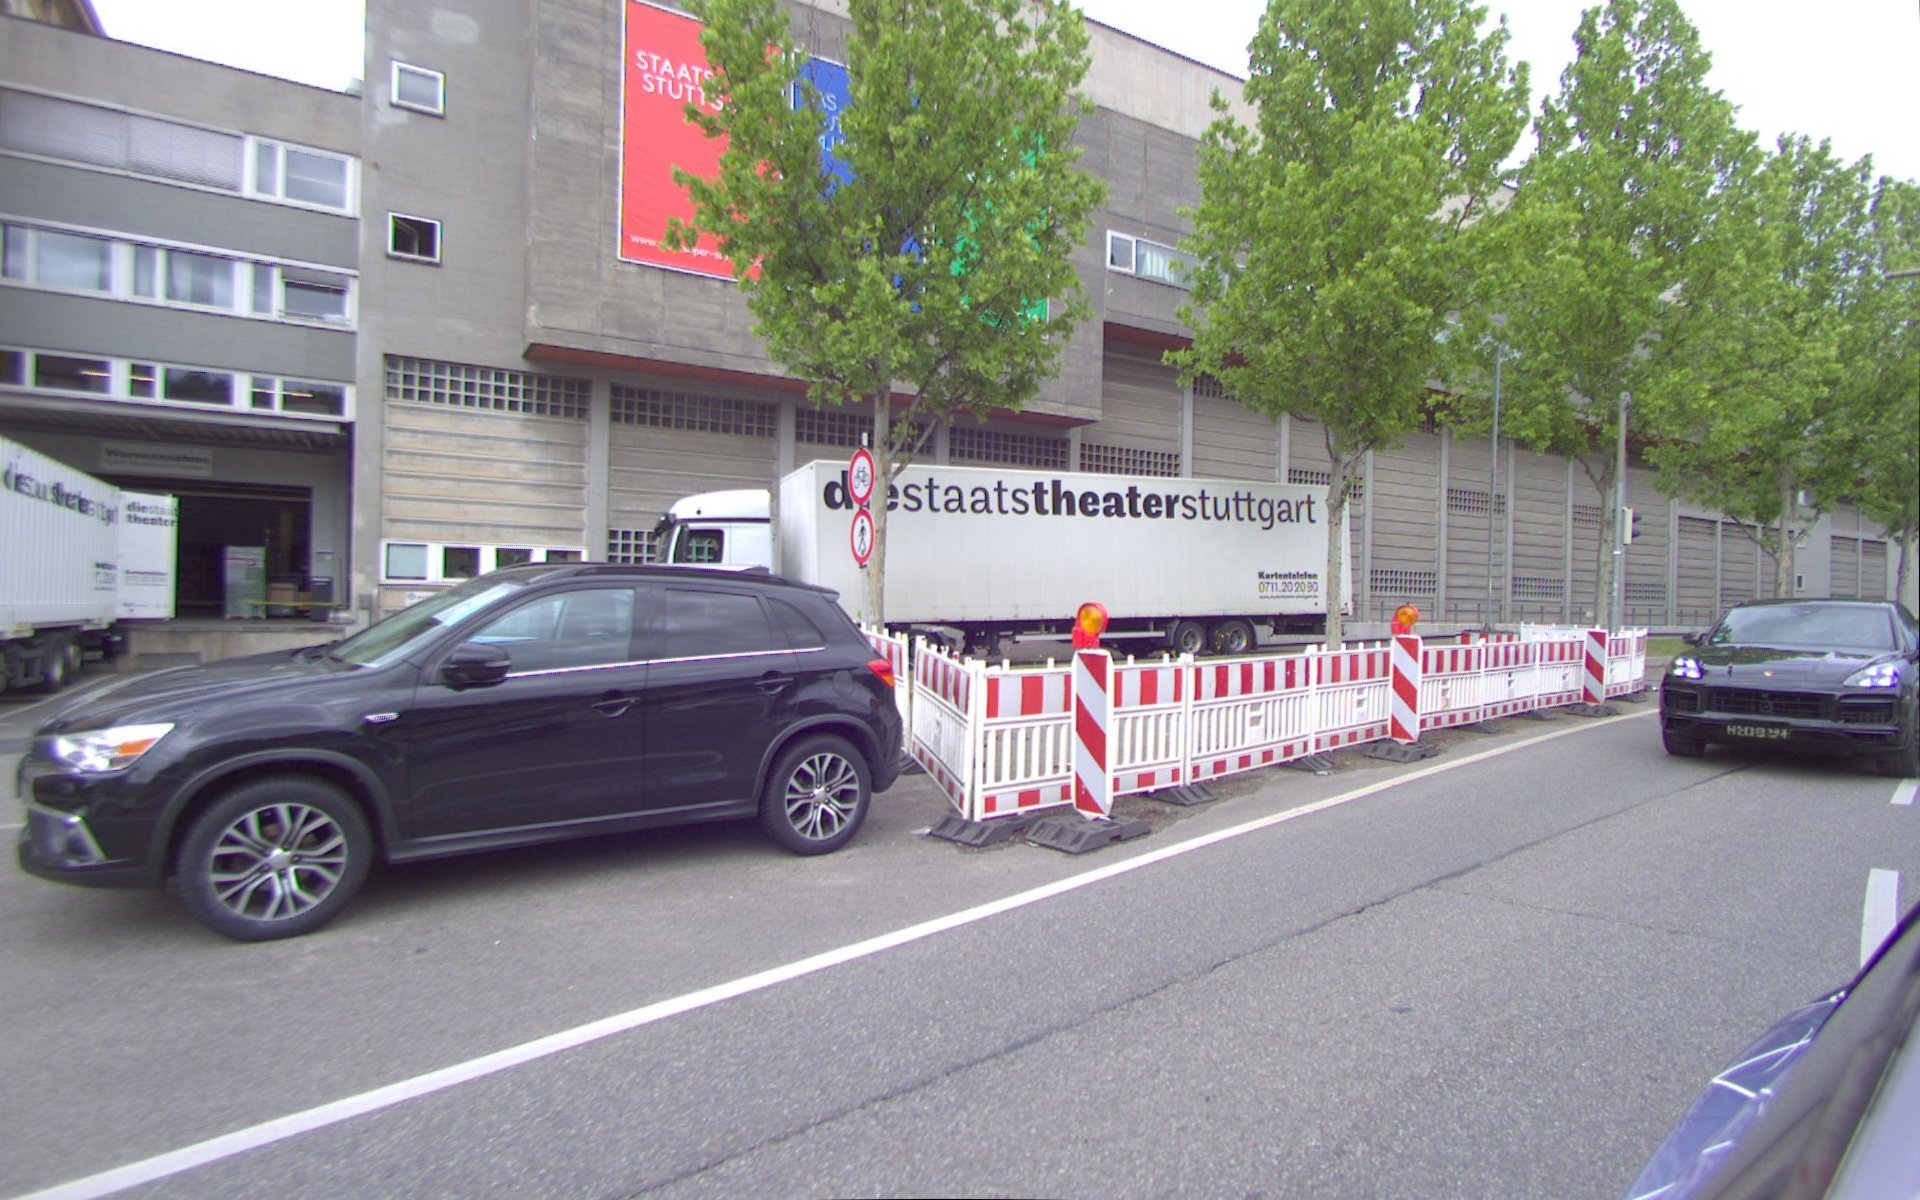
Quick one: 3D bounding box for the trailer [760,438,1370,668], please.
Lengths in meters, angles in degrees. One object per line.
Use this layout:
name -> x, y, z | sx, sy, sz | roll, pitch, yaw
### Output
trailer -> 2.719, -0.858, 22.509 | 13.682, 4.154, 3.163 | 0, -2, -24

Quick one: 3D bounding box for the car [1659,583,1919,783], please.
car -> 9.030, 0.714, 10.574 | 4.128, 1.679, 1.906 | 0, -1, -41

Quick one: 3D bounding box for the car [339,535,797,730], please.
car -> -4.304, 0.342, 11.400 | 4.531, 1.807, 1.811 | 0, -3, -33

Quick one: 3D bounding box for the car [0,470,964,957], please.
car -> -2.282, 0.456, 5.667 | 4.401, 1.760, 1.810 | 1, -2, -36

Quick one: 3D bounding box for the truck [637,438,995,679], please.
truck -> -2.887, -0.707, 20.098 | 6.437, 4.137, 3.147 | 0, -1, -24

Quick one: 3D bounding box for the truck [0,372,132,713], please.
truck -> -15.054, -0.789, 14.875 | 2.940, 4.258, 10.397 | 1, 1, -31

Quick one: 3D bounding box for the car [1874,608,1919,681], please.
car -> 20.468, 0.905, 20.617 | 3.924, 1.393, 1.936 | 0, 2, -36

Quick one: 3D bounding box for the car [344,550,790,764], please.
car -> -3.422, 0.424, 8.975 | 3.435, 1.549, 1.585 | 0, -1, -33
